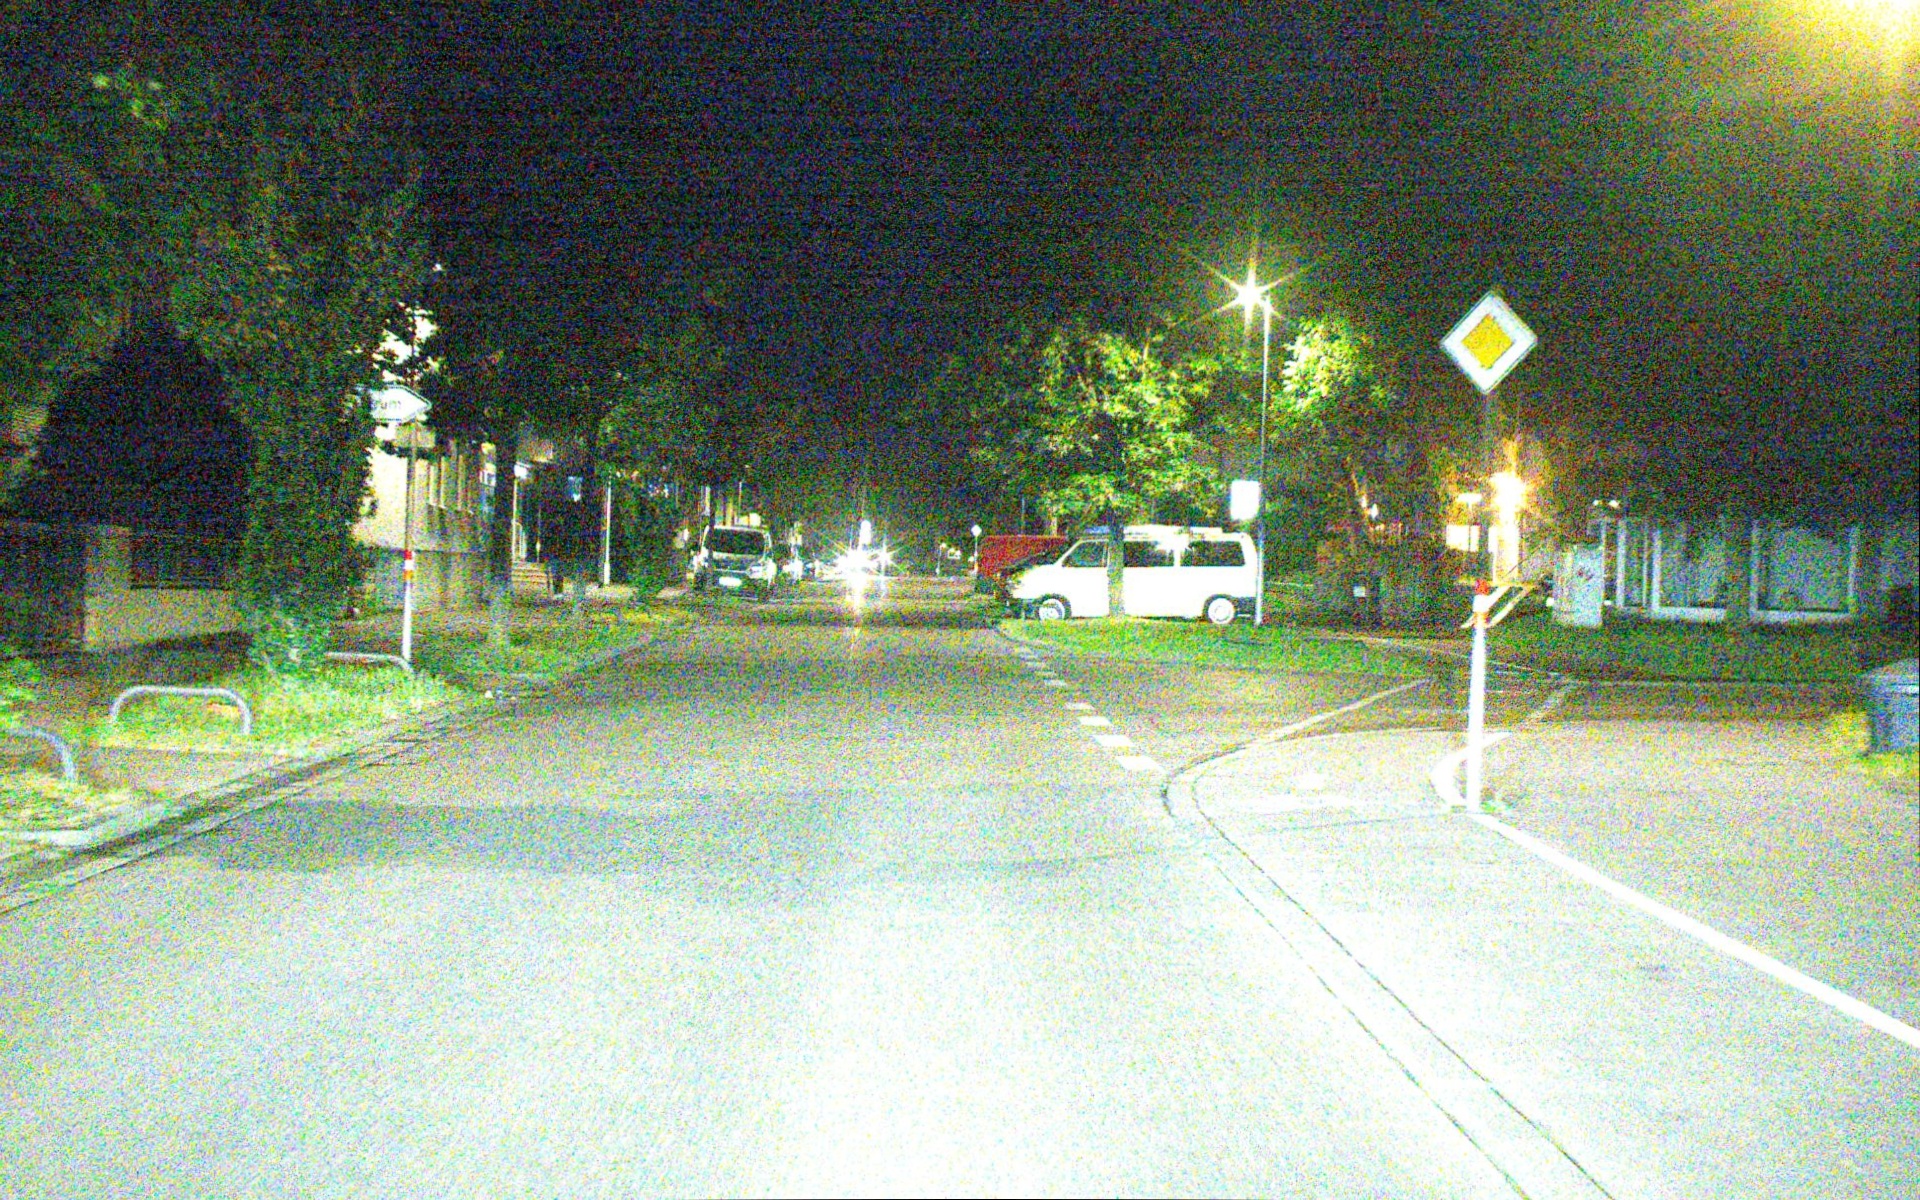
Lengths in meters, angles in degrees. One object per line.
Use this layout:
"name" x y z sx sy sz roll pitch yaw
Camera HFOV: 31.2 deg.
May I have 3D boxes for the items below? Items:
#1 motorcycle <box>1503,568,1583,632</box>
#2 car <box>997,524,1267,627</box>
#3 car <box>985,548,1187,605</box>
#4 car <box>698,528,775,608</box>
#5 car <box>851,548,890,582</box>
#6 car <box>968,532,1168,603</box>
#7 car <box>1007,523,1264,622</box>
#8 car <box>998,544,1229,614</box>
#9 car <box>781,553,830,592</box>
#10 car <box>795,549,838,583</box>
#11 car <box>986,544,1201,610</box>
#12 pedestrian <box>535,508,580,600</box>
"motorcycle" 12.616 -0.012 74.336 1.071 1.322 2.703 2 2 23
"car" 3.377 -0.507 68.235 5.182 2.007 2.102 0 1 -2
"car" 3.281 -0.618 90.361 5.182 1.464 2.102 0 1 -2
"car" -5.966 -0.877 92.146 1.824 1.980 4.466 3 1 -2
"car" -4.465 -1.757 171.290 1.927 1.643 3.822 0 1 -2
"car" 2.946 -0.883 93.028 5.184 1.880 2.101 0 1 9
"car" 3.606 -0.584 71.372 5.182 2.007 2.102 0 1 -2
"car" 3.517 -0.501 79.354 5.182 1.588 2.102 0 1 -2
"car" -5.597 -1.008 124.727 1.683 1.326 3.600 1 1 -2
"car" -5.873 -1.415 140.832 1.683 1.326 3.600 1 1 -2
"car" 3.270 -0.576 84.845 5.182 1.588 2.102 0 1 -2
"pedestrian" -9.024 -1.035 77.128 0.785 2.007 1.204 3 1 -1
